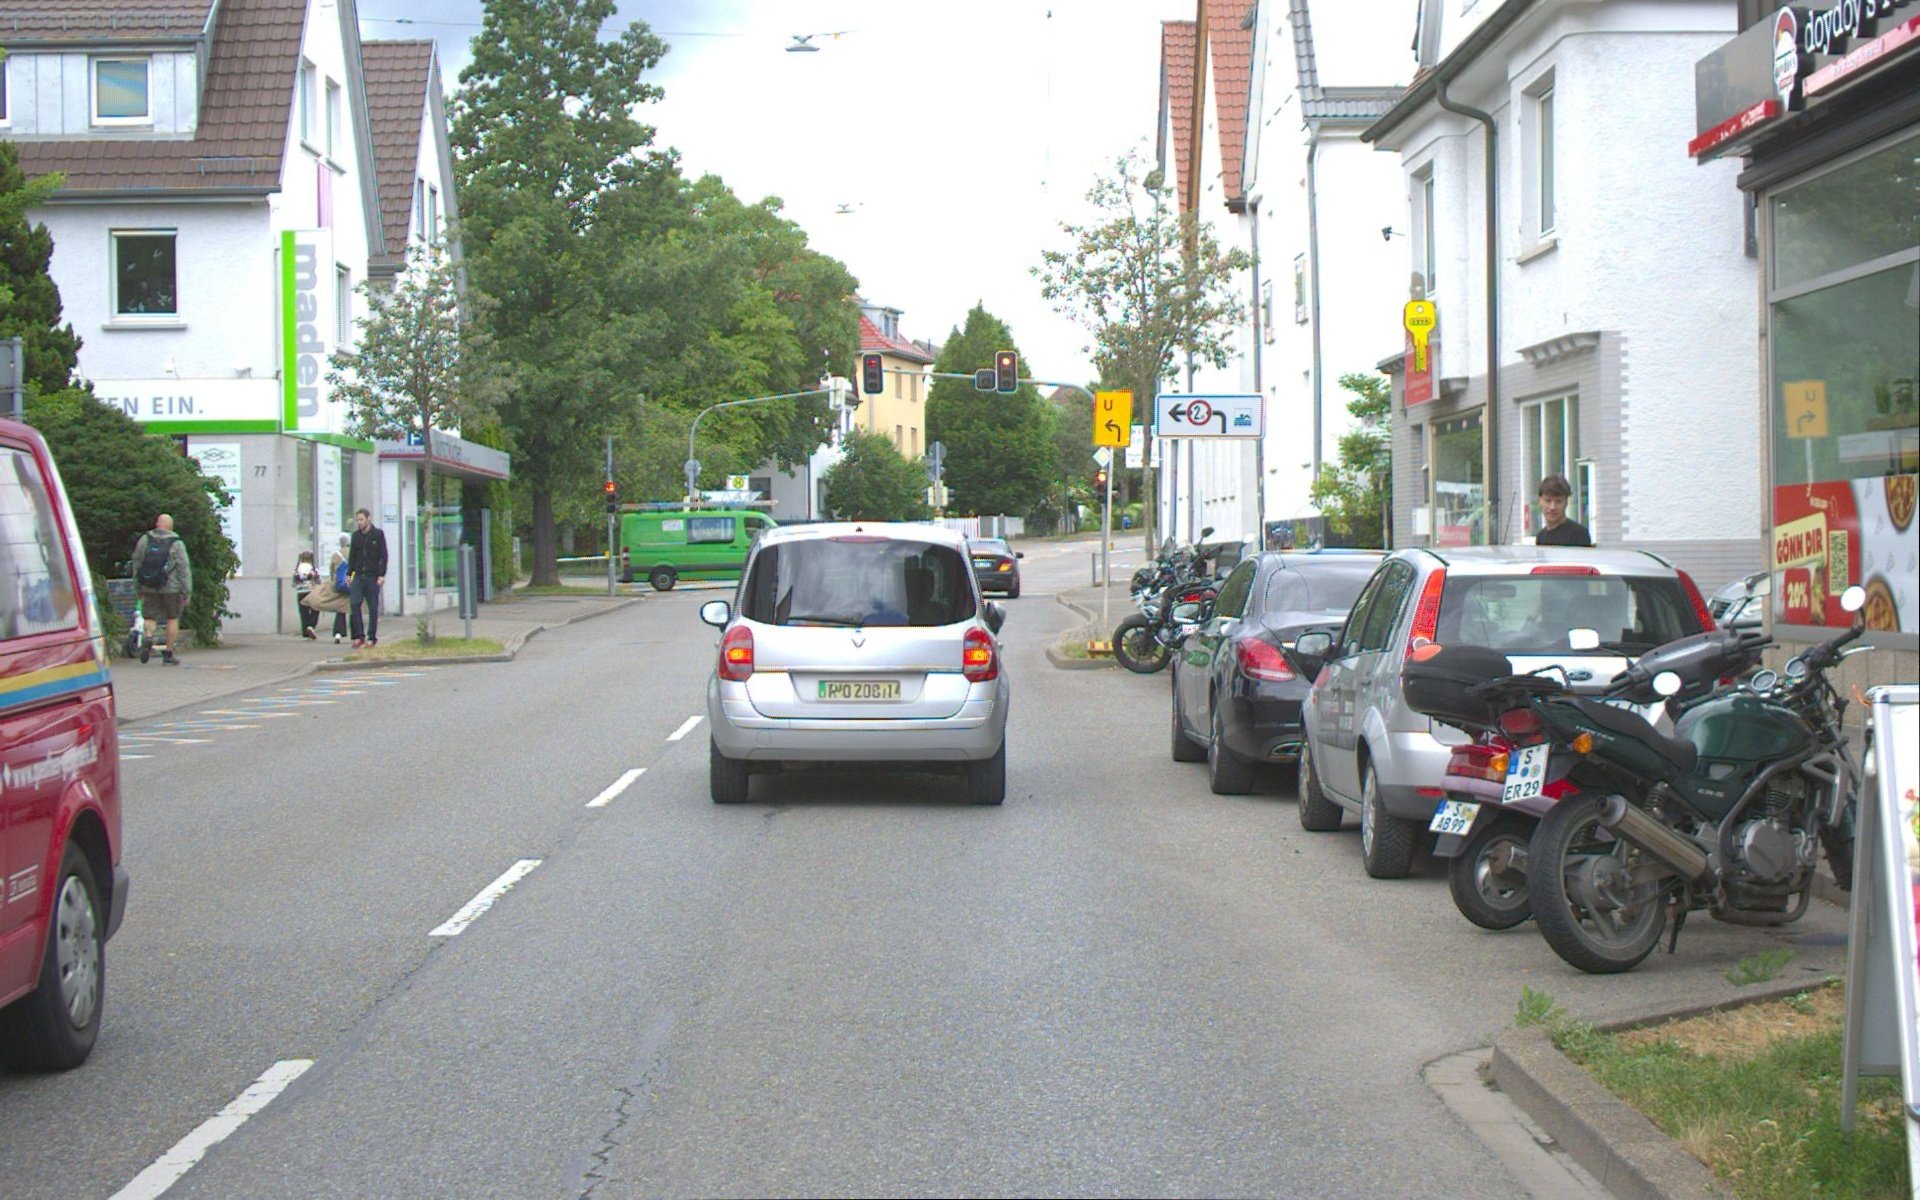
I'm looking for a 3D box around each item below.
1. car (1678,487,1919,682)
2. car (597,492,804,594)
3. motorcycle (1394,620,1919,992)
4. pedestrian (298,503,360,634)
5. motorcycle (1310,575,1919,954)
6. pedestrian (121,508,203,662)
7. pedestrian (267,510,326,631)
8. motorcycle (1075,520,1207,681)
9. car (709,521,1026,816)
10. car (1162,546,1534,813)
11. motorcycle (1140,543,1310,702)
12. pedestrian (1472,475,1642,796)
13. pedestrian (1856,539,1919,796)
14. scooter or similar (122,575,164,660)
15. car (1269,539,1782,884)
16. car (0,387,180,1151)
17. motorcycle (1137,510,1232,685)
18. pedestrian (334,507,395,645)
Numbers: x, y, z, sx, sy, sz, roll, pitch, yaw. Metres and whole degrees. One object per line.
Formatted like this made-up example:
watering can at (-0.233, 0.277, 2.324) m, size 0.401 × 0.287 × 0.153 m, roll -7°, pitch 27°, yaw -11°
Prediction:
car at (8.201, -0.122, 28.820) m, size 3.980 × 1.560 × 1.688 m, roll 1°, pitch 1°, yaw 0°
car at (-7.555, -1.670, 100.593) m, size 5.929 × 2.897 × 2.255 m, roll 0°, pitch 1°, yaw -2°
motorcycle at (2.833, 0.669, 12.076) m, size 2.728 × 1.179 × 0.700 m, roll 0°, pitch 1°, yaw -31°
pedestrian at (-9.079, -0.457, 49.448) m, size 0.762 × 1.869 × 0.696 m, roll 0°, pitch 1°, yaw -1°
motorcycle at (2.642, 0.577, 13.119) m, size 2.707 × 1.331 × 0.700 m, roll 0°, pitch 1°, yaw -31°
pedestrian at (-9.345, -0.180, 40.293) m, size 0.762 × 1.785 × 0.890 m, roll 0°, pitch 1°, yaw -1°
pedestrian at (-9.671, -0.433, 50.120) m, size 0.716 × 1.750 × 0.696 m, roll 0°, pitch 1°, yaw -1°
motorcycle at (1.878, -0.016, 36.119) m, size 0.697 × 1.633 × 2.410 m, roll 0°, pitch 1°, yaw -14°
car at (-0.503, 0.339, 20.468) m, size 1.682 × 1.560 × 3.993 m, roll 1°, pitch 1°, yaw 0°
car at (2.265, 0.410, 21.076) m, size 1.700 × 1.462 × 4.239 m, roll 0°, pitch 1°, yaw -1°
motorcycle at (2.472, 0.184, 31.736) m, size 0.699 × 1.404 × 2.713 m, roll 1°, pitch 1°, yaw 24°
pedestrian at (3.649, 0.207, 21.077) m, size 0.857 × 1.921 × 0.900 m, roll 0°, pitch 1°, yaw 0°
pedestrian at (5.316, 0.318, 18.027) m, size 0.887 × 1.296 × 0.966 m, roll -4°, pitch 1°, yaw 0°
scooter or similar at (-10.067, 0.215, 42.365) m, size 0.373 × 1.031 × 0.559 m, roll -1°, pitch 1°, yaw -1°
car at (2.530, 0.436, 16.266) m, size 1.700 × 1.425 × 3.891 m, roll 0°, pitch 1°, yaw -1°
car at (-3.449, 0.474, 8.146) m, size 1.948 × 1.955 × 5.223 m, roll -3°, pitch 1°, yaw 0°
motorcycle at (2.197, -0.041, 33.431) m, size 0.698 × 1.633 × 2.408 m, roll 1°, pitch 1°, yaw 9°
pedestrian at (-8.152, -0.336, 47.086) m, size 0.716 × 1.869 × 0.696 m, roll 0°, pitch 1°, yaw -1°
